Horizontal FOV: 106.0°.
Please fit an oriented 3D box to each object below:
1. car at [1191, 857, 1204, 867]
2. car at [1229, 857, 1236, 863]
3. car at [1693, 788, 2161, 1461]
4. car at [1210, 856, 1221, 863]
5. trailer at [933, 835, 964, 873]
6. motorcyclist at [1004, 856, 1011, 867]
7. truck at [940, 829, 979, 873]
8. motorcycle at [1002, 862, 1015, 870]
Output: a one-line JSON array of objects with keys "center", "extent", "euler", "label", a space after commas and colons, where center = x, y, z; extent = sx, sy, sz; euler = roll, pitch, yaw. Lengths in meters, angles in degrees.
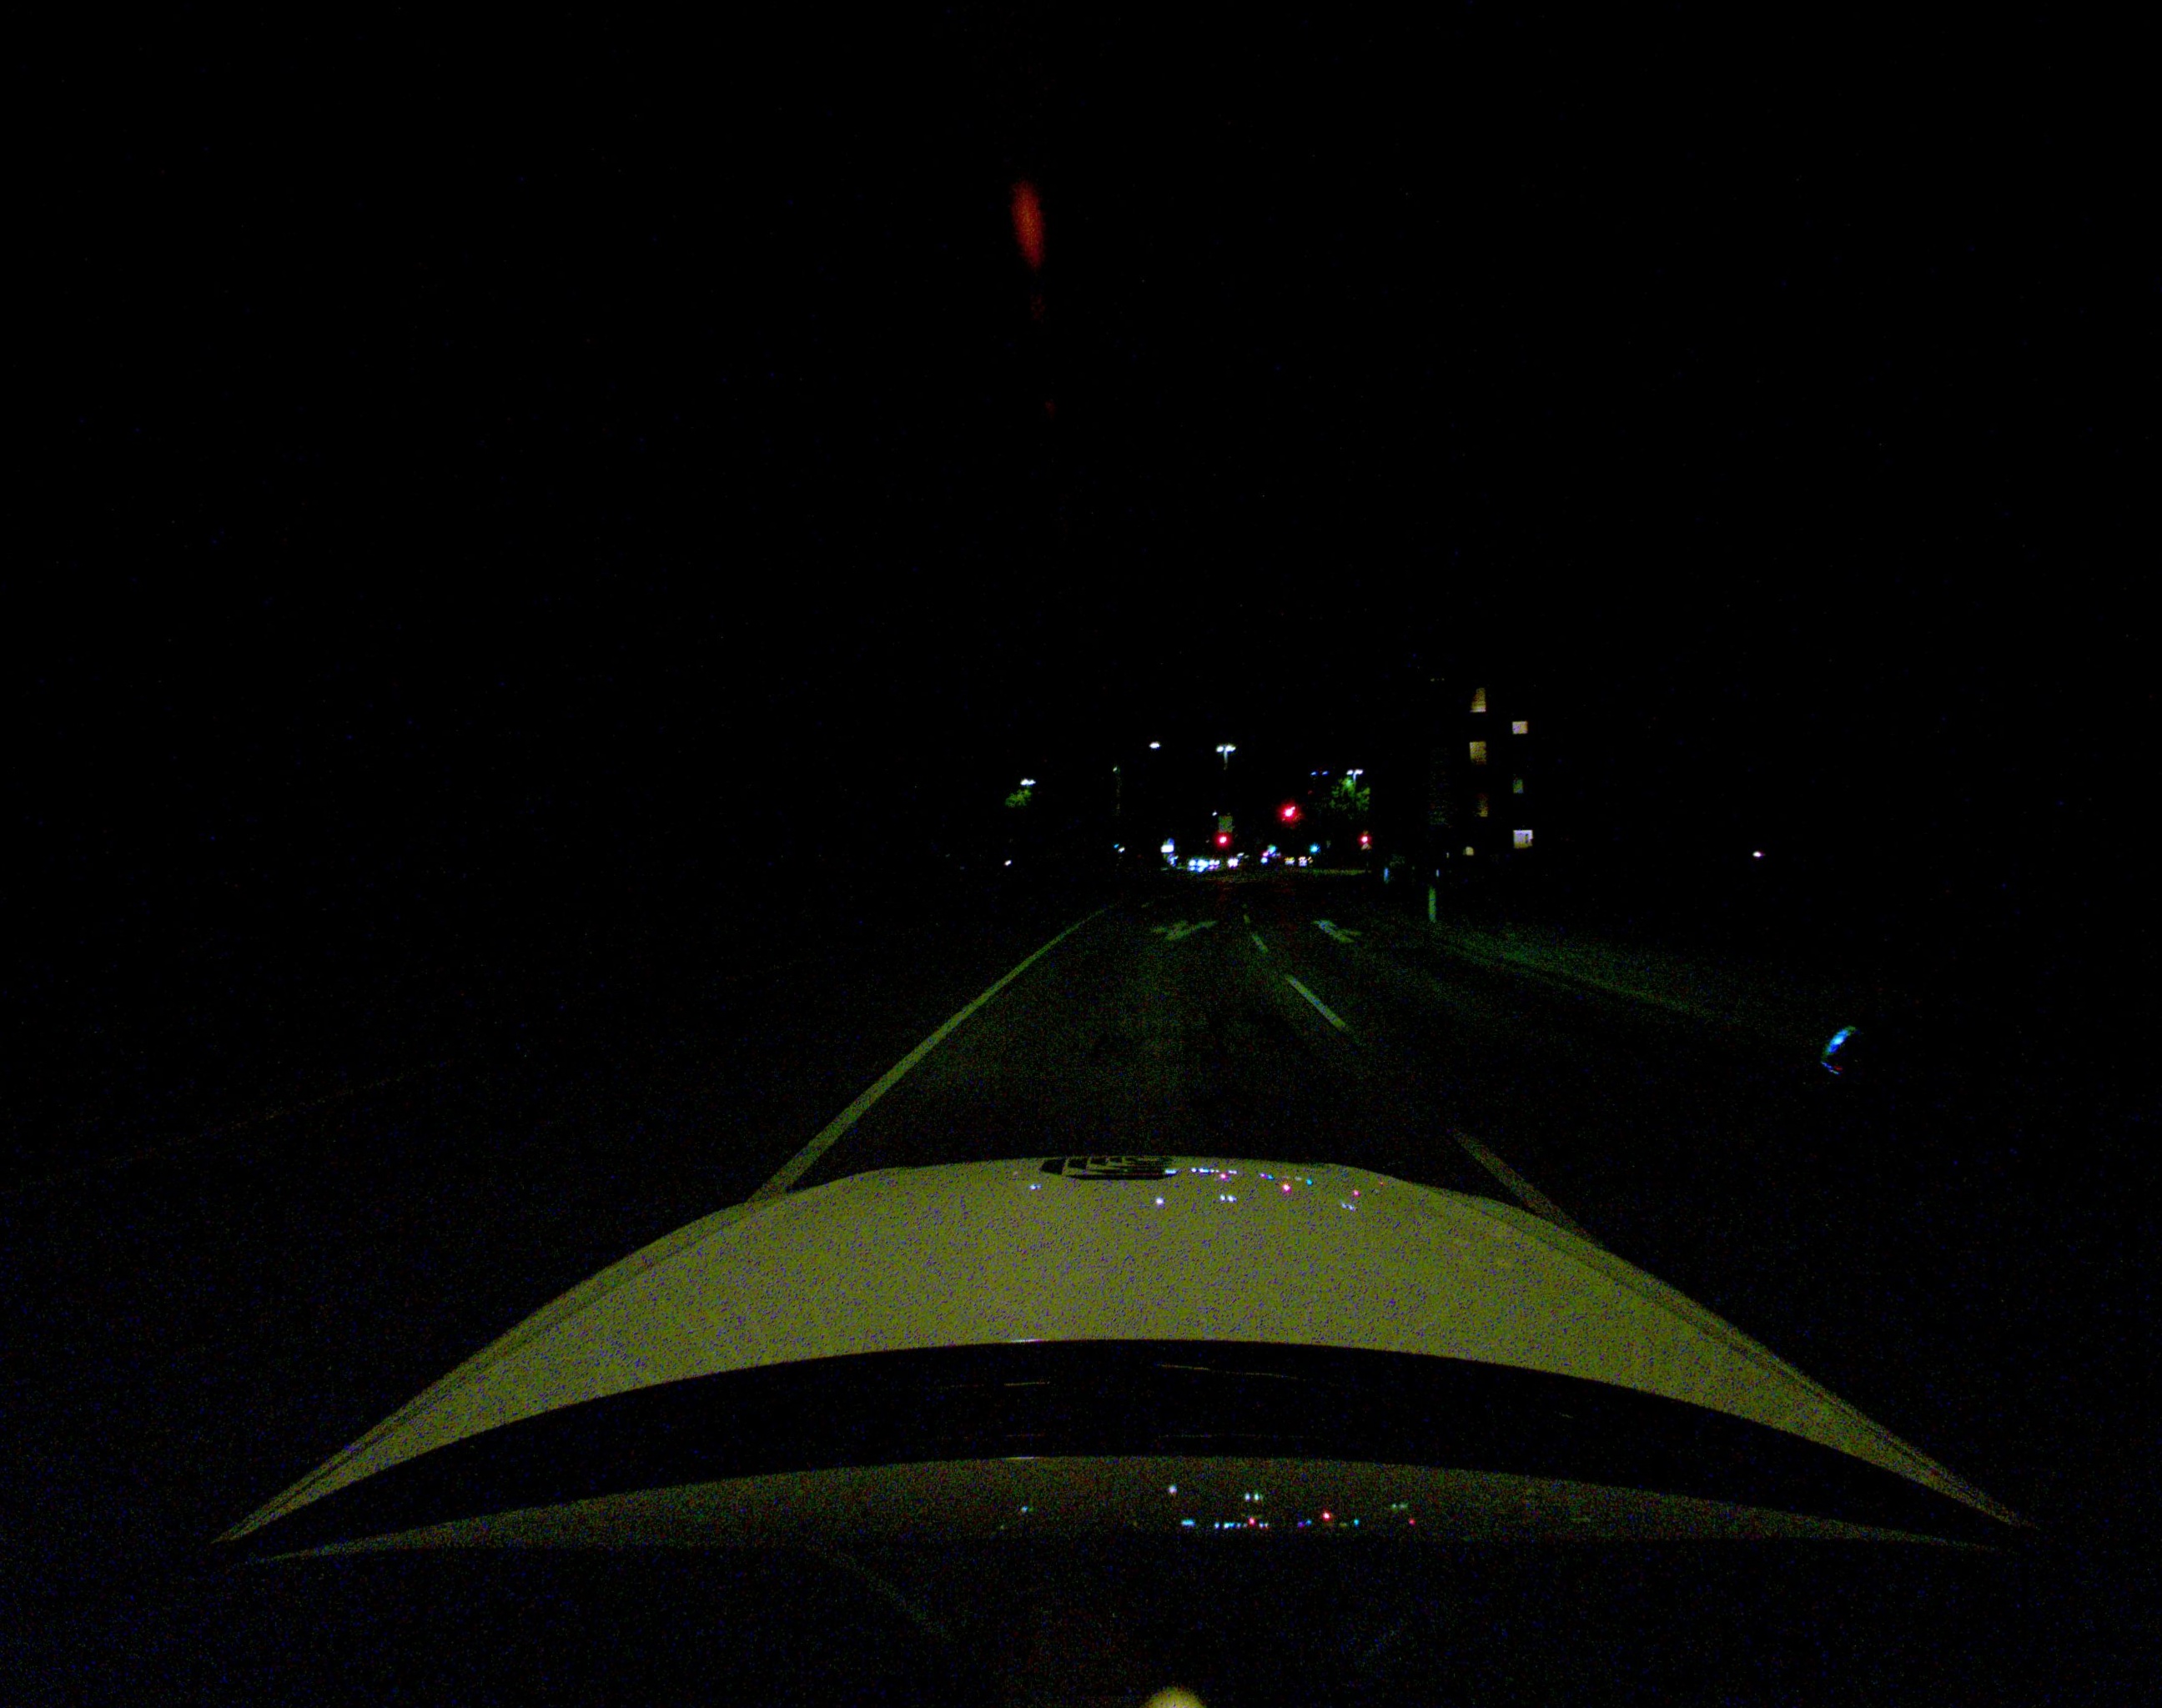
[{"center": [18.520, 1.269, 129.121], "extent": [1.604, 1.515, 4.015], "euler": [-1, -1, 14], "label": "car"}, {"center": [46.889, 1.762, 251.866], "extent": [1.745, 1.728, 3.560], "euler": [-1, -1, 14], "label": "car"}, {"center": [3.393, 0.644, 1.402], "extent": [1.663, 1.610, 4.232], "euler": [0, -1, 3], "label": "car"}, {"center": [26.165, 1.117, 158.327], "extent": [1.745, 1.322, 3.560], "euler": [-1, -1, 14], "label": "car"}, {"center": [-13.948, 0.011, 85.369], "extent": [2.617, 3.791, 6.482], "euler": [0, -1, -14], "label": "trailer"}, {"center": [-7.956, 0.822, 88.292], "extent": [0.650, 1.261, 0.574], "euler": [0, -1, -29], "label": "motorcyclist"}, {"center": [-11.311, -0.203, 75.111], "extent": [2.940, 3.796, 9.516], "euler": [0, -1, -12], "label": "truck"}, {"center": [-7.898, 1.299, 88.595], "extent": [0.581, 0.896, 2.135], "euler": [-3, 0, -28], "label": "motorcycle"}]
